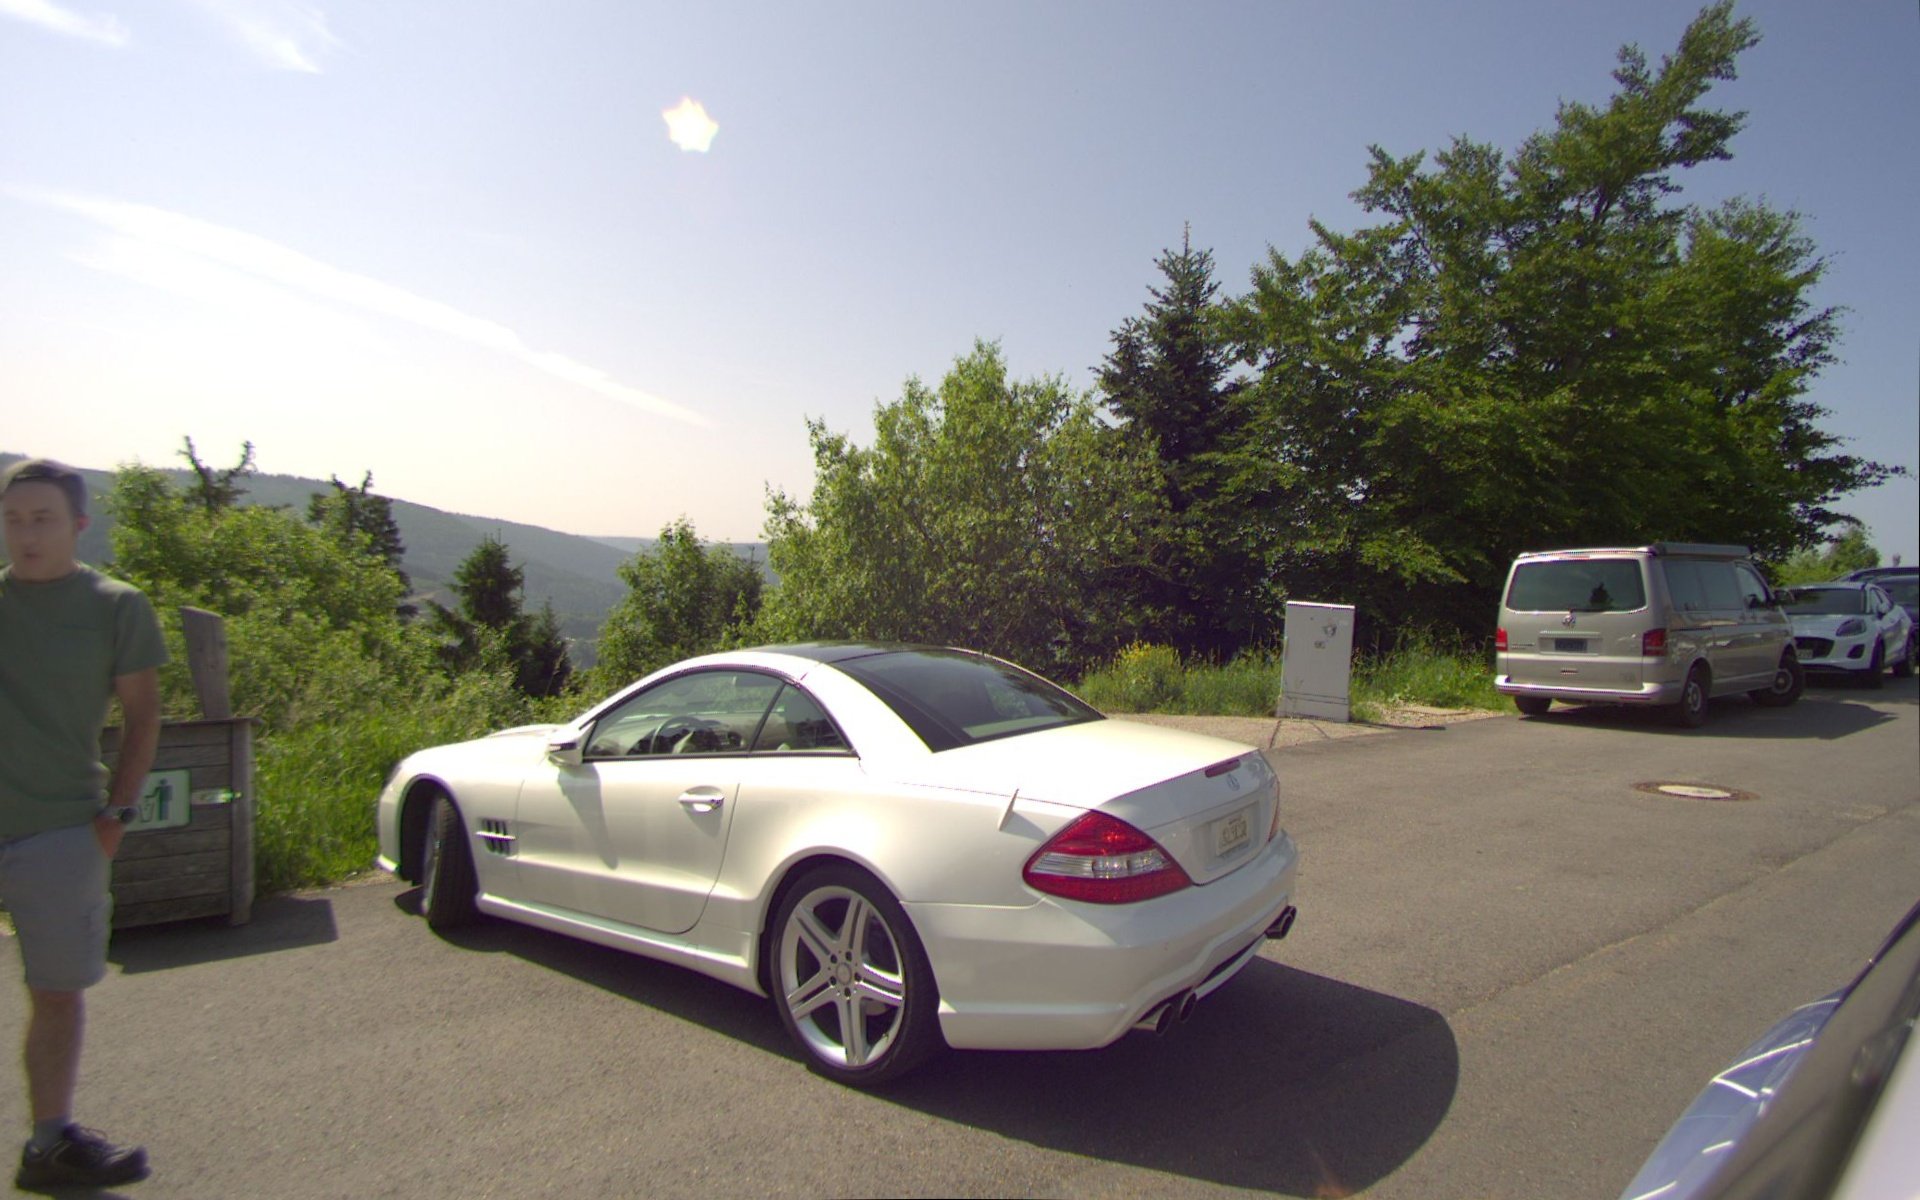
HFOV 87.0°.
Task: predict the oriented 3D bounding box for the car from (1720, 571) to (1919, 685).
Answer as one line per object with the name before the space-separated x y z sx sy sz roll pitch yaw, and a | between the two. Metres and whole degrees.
car | 13.679 0.363 15.883 3.928 1.567 1.874 -1 0 -39

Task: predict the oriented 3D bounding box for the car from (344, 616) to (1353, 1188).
car | -0.800 0.733 4.394 4.386 1.312 1.732 -1 -1 37

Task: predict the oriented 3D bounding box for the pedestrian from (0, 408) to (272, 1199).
pedestrian | -2.165 0.522 2.322 0.731 1.822 0.739 0 1 34

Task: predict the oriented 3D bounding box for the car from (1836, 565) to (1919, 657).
car | 18.543 0.181 19.462 3.928 1.639 1.874 -1 0 -39

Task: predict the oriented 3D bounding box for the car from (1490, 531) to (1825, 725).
car | 8.564 0.270 12.302 4.521 1.960 1.863 0 0 -35

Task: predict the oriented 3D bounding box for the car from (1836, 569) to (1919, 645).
car | 22.023 0.134 22.199 3.971 1.639 1.854 0 0 34

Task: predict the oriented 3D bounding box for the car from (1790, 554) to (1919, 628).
car | 25.395 -0.244 27.307 4.428 1.949 1.854 0 0 34
